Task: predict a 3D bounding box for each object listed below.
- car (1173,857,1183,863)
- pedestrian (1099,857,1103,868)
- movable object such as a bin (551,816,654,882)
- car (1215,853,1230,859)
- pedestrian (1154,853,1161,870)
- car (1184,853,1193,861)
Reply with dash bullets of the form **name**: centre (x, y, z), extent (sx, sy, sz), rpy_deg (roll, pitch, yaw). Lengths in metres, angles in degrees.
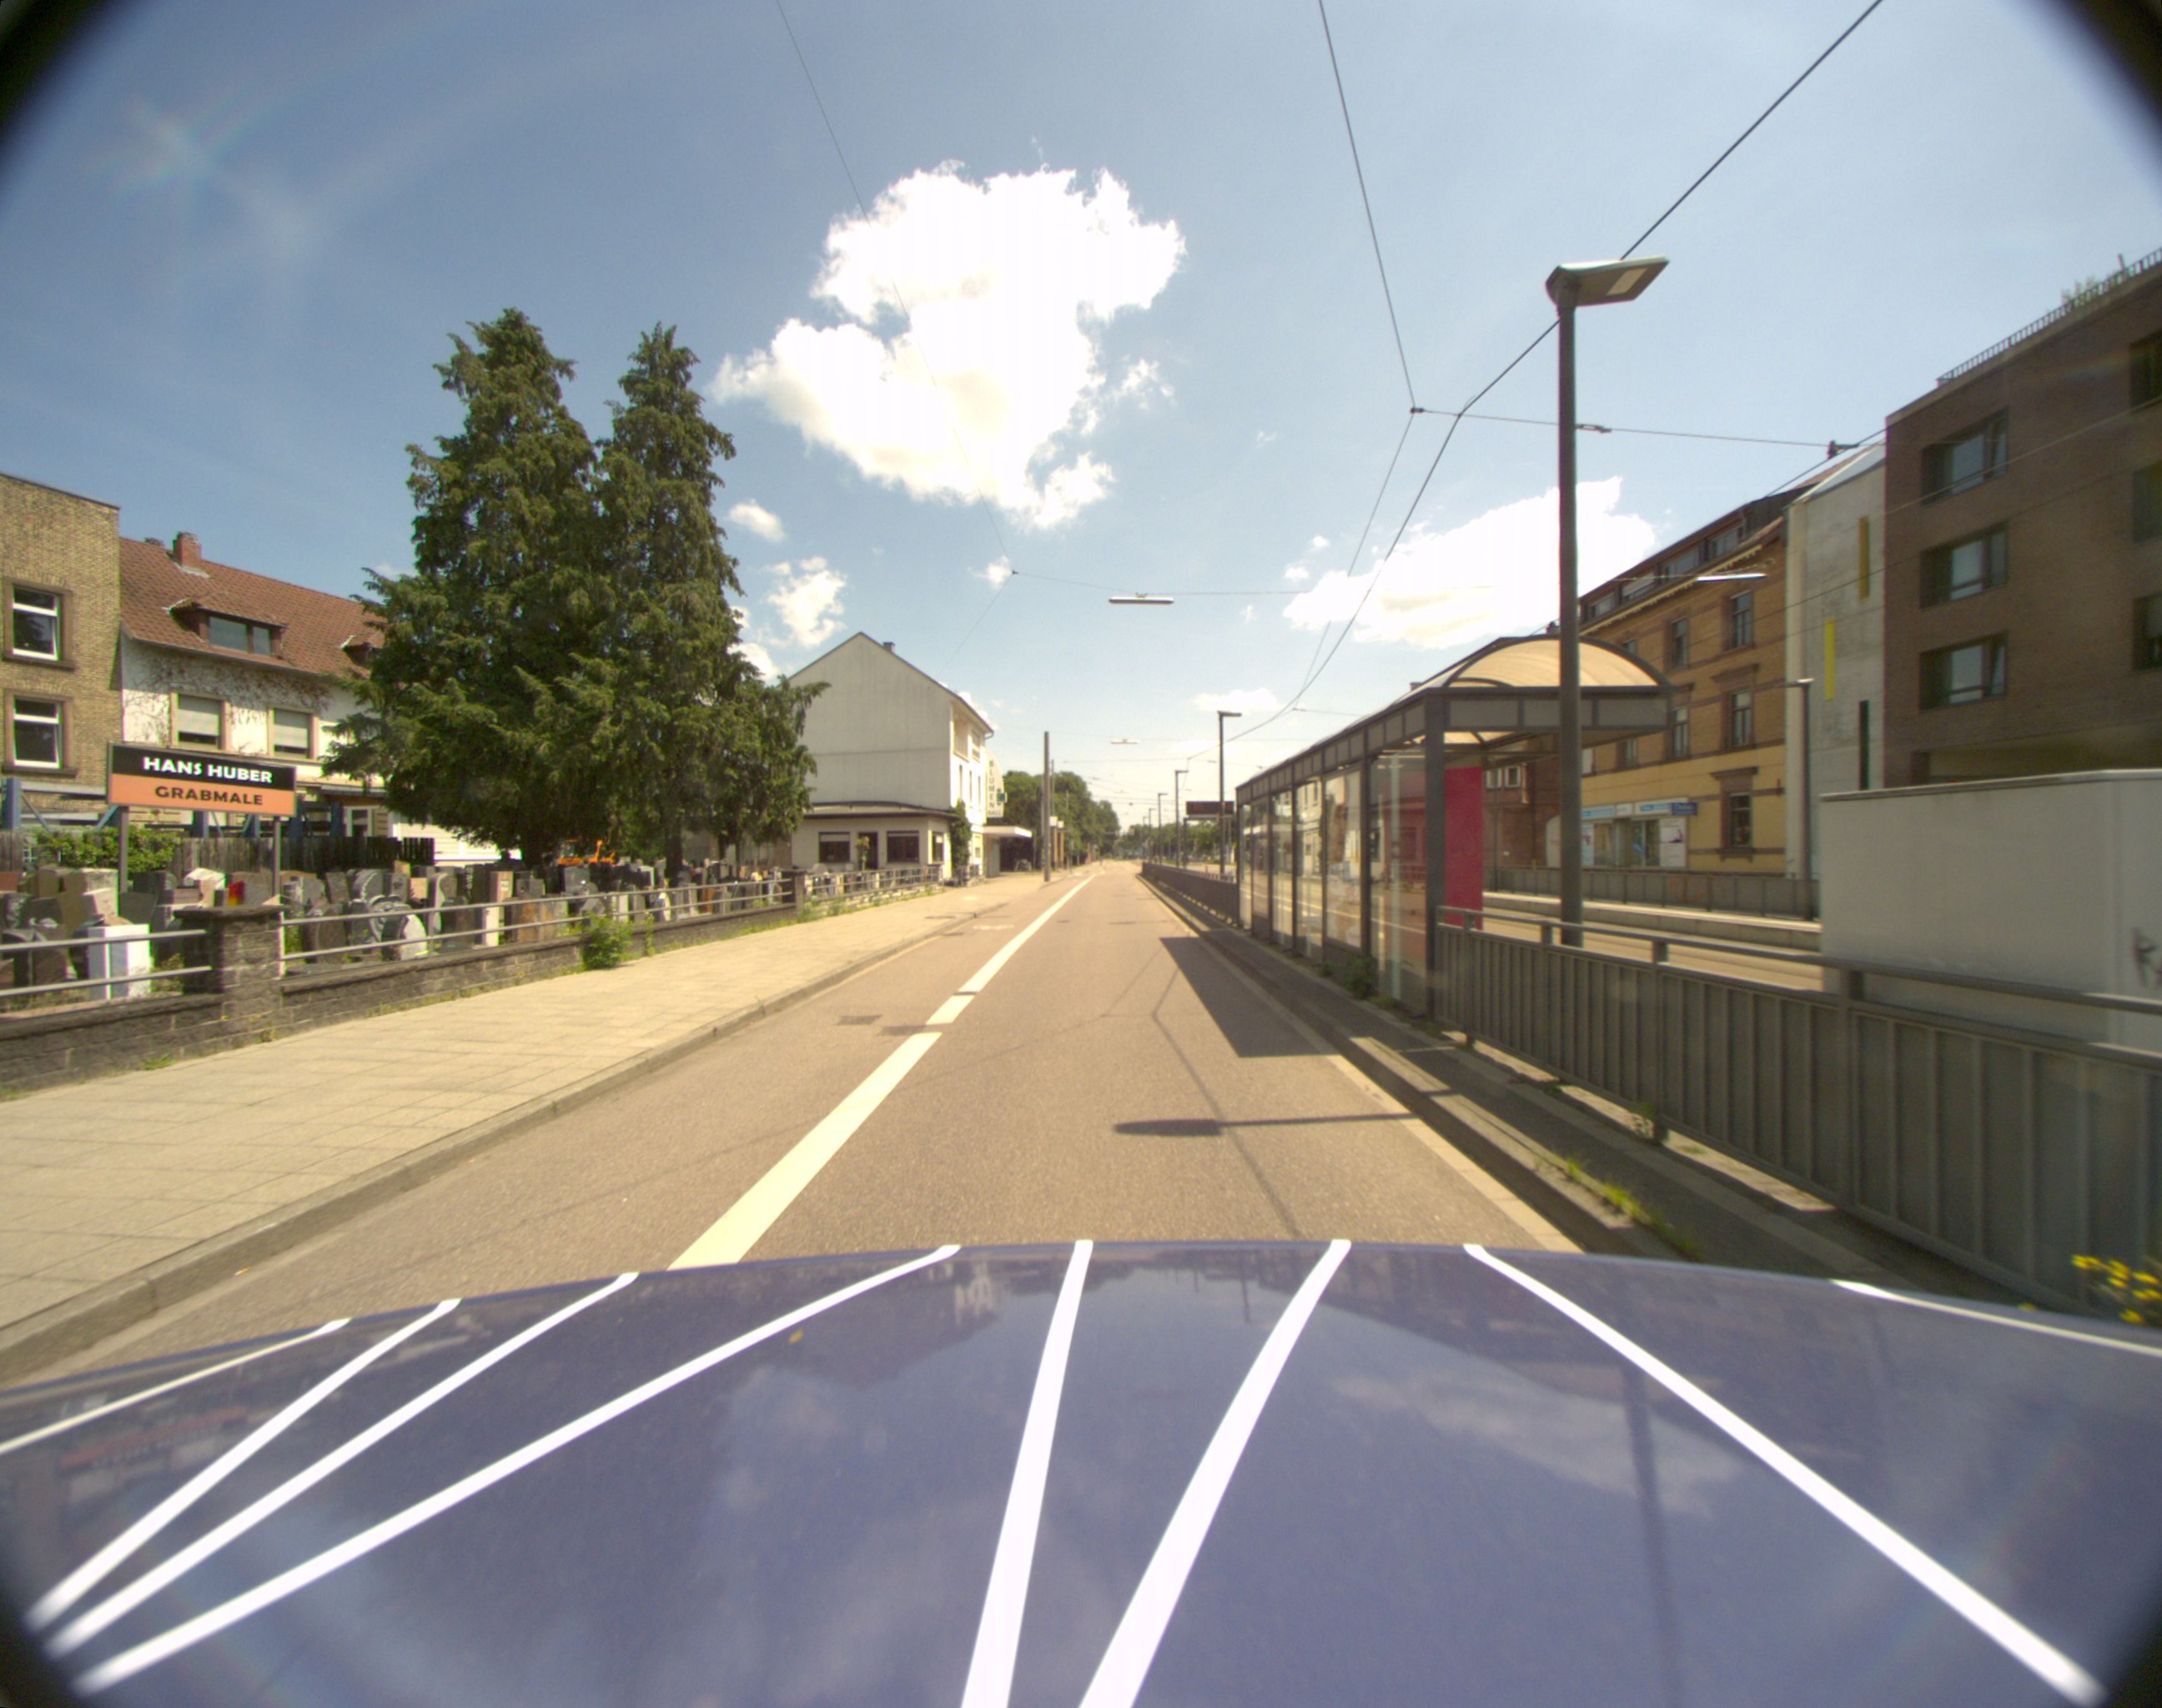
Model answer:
- **car**: centre (24.982, 1.543, 196.021), extent (1.998, 1.463, 4.402), rpy_deg (0, 0, 2)
- **pedestrian**: centre (3.401, 1.421, 128.430), extent (0.767, 1.841, 0.718), rpy_deg (0, 1, -1)
- **movable object such as a bin**: centre (-20.257, -0.222, 32.366), extent (1.743, 2.604, 3.809), rpy_deg (1, 1, 4)
- **car**: centre (39.518, 0.522, 212.510), extent (3.996, 1.726, 1.803), rpy_deg (1, 1, 3)
- **pedestrian**: centre (7.092, 0.722, 70.609), extent (0.578, 1.547, 0.786), rpy_deg (2, 1, 6)
- **car**: centre (24.134, 0.637, 170.349), extent (1.727, 1.673, 4.282), rpy_deg (1, 0, 6)
